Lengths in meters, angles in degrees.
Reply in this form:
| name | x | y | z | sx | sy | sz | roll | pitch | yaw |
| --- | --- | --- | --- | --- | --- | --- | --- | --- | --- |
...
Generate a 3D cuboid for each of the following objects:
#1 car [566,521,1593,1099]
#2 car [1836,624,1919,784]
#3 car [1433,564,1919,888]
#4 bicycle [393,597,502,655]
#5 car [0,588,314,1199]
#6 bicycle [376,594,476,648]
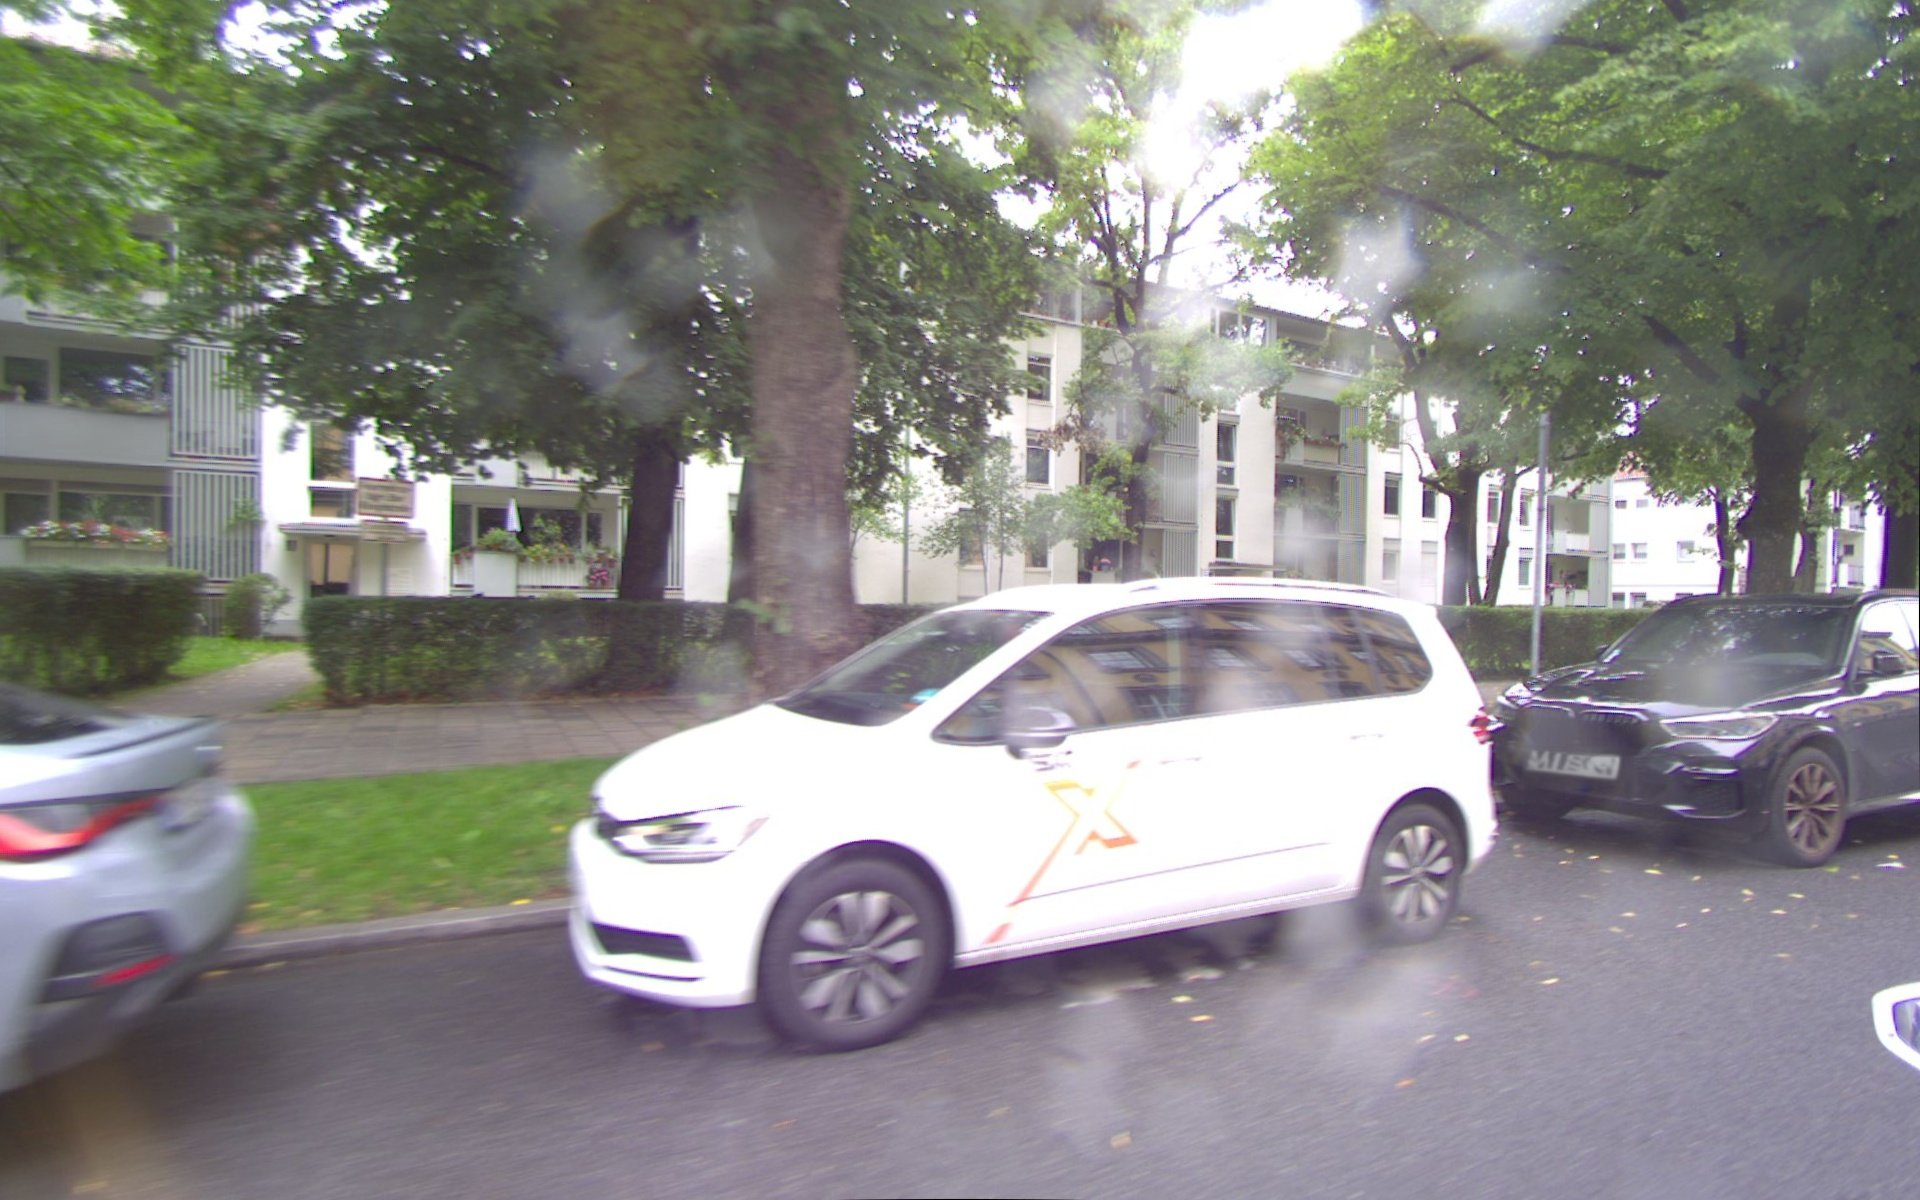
| name | x | y | z | sx | sy | sz | roll | pitch | yaw |
| --- | --- | --- | --- | --- | --- | --- | --- | --- | --- |
| car | 0.643 | 0.687 | 4.639 | 4.462 | 1.643 | 1.760 | 2 | -3 | -25 |
| car | 11.097 | 1.039 | 10.148 | 4.633 | 1.470 | 1.713 | 2 | 0 | -26 |
| car | 6.122 | 0.789 | 7.631 | 4.855 | 1.821 | 1.987 | 2 | -1 | -26 |
| bicycle | -10.153 | 0.510 | 19.934 | 1.881 | 1.096 | 0.637 | 1 | 1 | -31 |
| car | -4.472 | 0.665 | 2.197 | 4.933 | 1.489 | 1.802 | 2 | 0 | -27 |
| bicycle | -11.585 | 0.457 | 21.791 | 1.881 | 1.122 | 0.637 | 1 | 1 | -31 |
